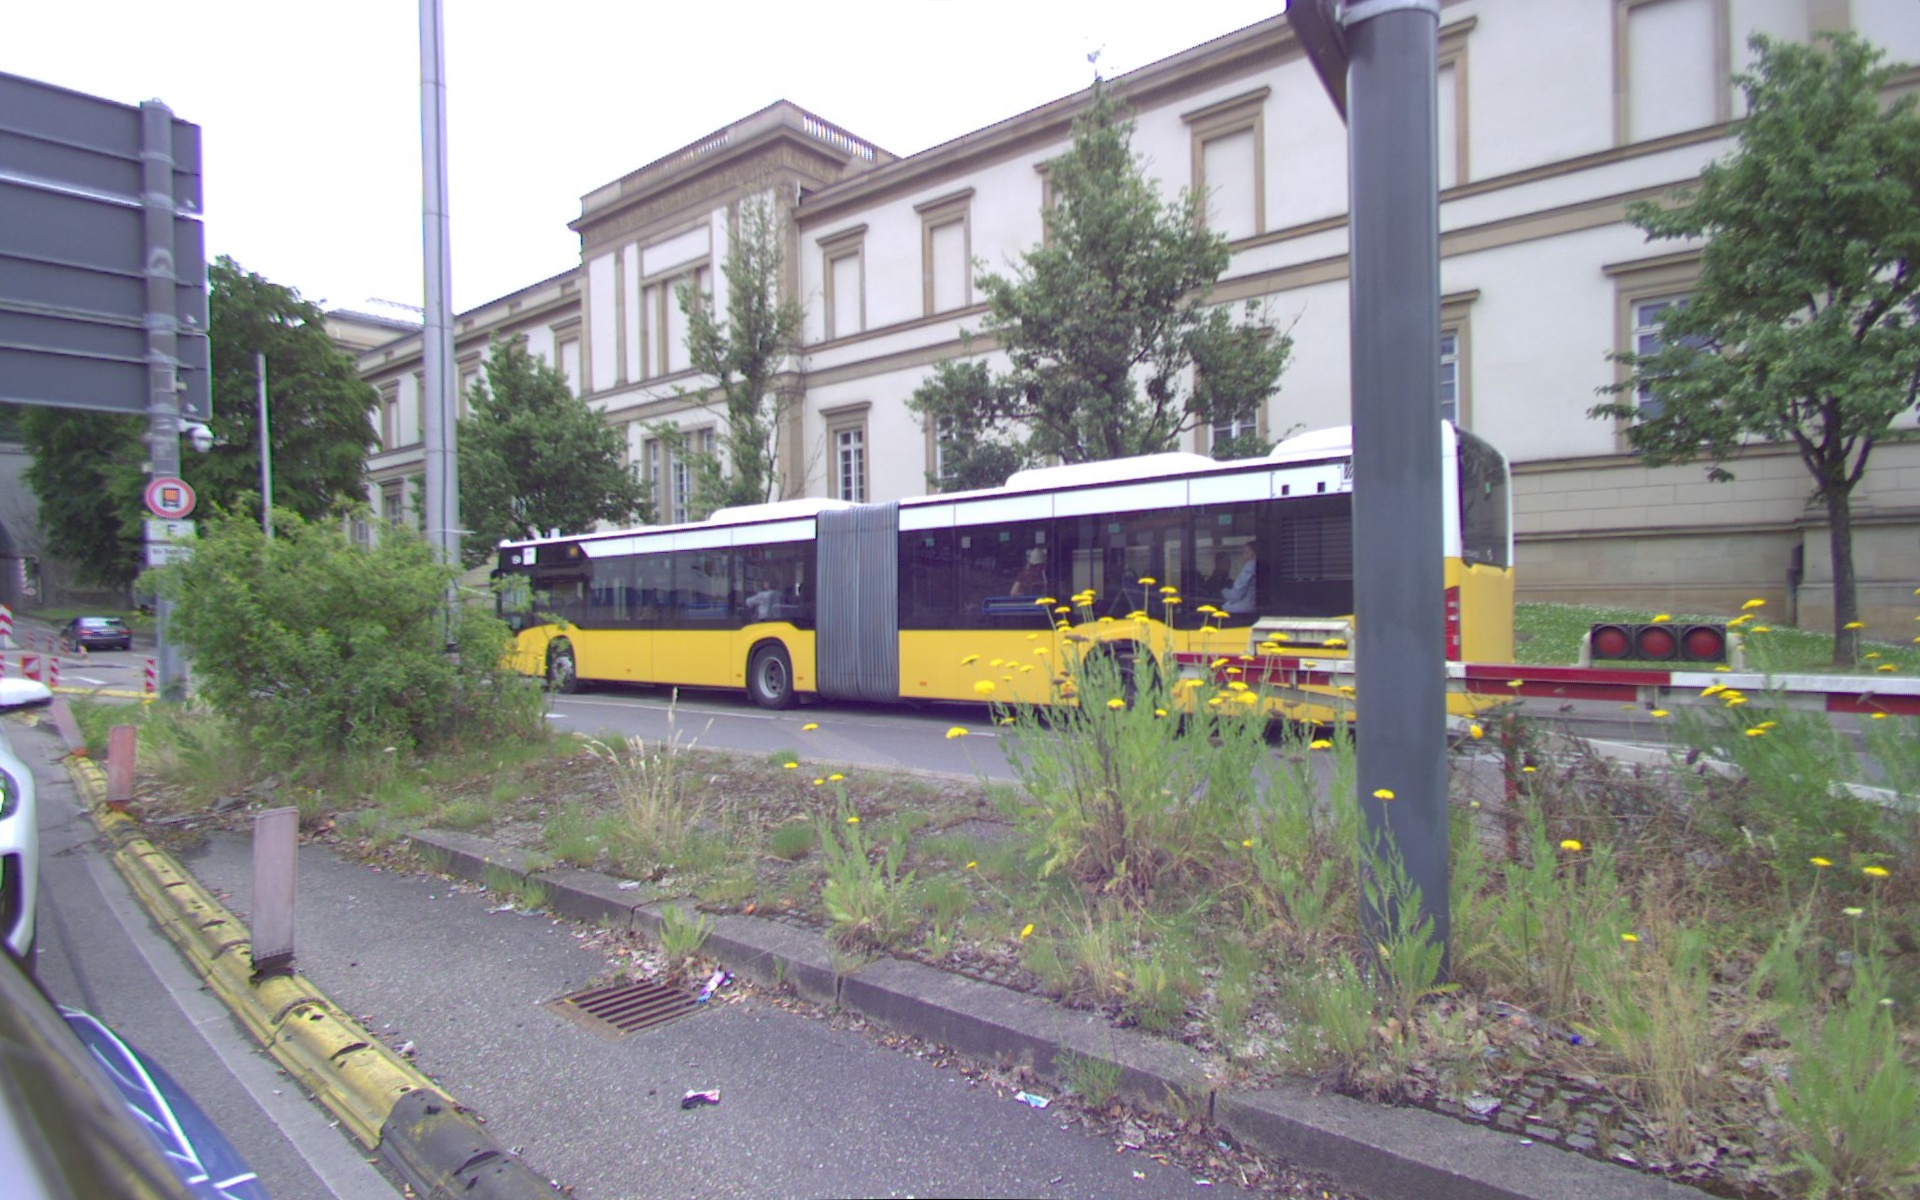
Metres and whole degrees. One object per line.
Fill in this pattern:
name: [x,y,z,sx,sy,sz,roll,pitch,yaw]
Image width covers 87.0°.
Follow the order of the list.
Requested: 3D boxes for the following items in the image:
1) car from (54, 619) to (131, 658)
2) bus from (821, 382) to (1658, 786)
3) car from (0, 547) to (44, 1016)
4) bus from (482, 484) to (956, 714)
car: [-36.296,1.587,42.295,4.625,1.482,1.684,-1,0,40]
bus: [2.512,-0.062,11.899,9.114,3.137,2.817,-1,0,40]
car: [-5.262,0.673,4.170,3.881,1.603,1.824,-2,0,42]
bus: [-4.741,0.060,17.965,9.738,3.137,2.818,-1,0,39]
